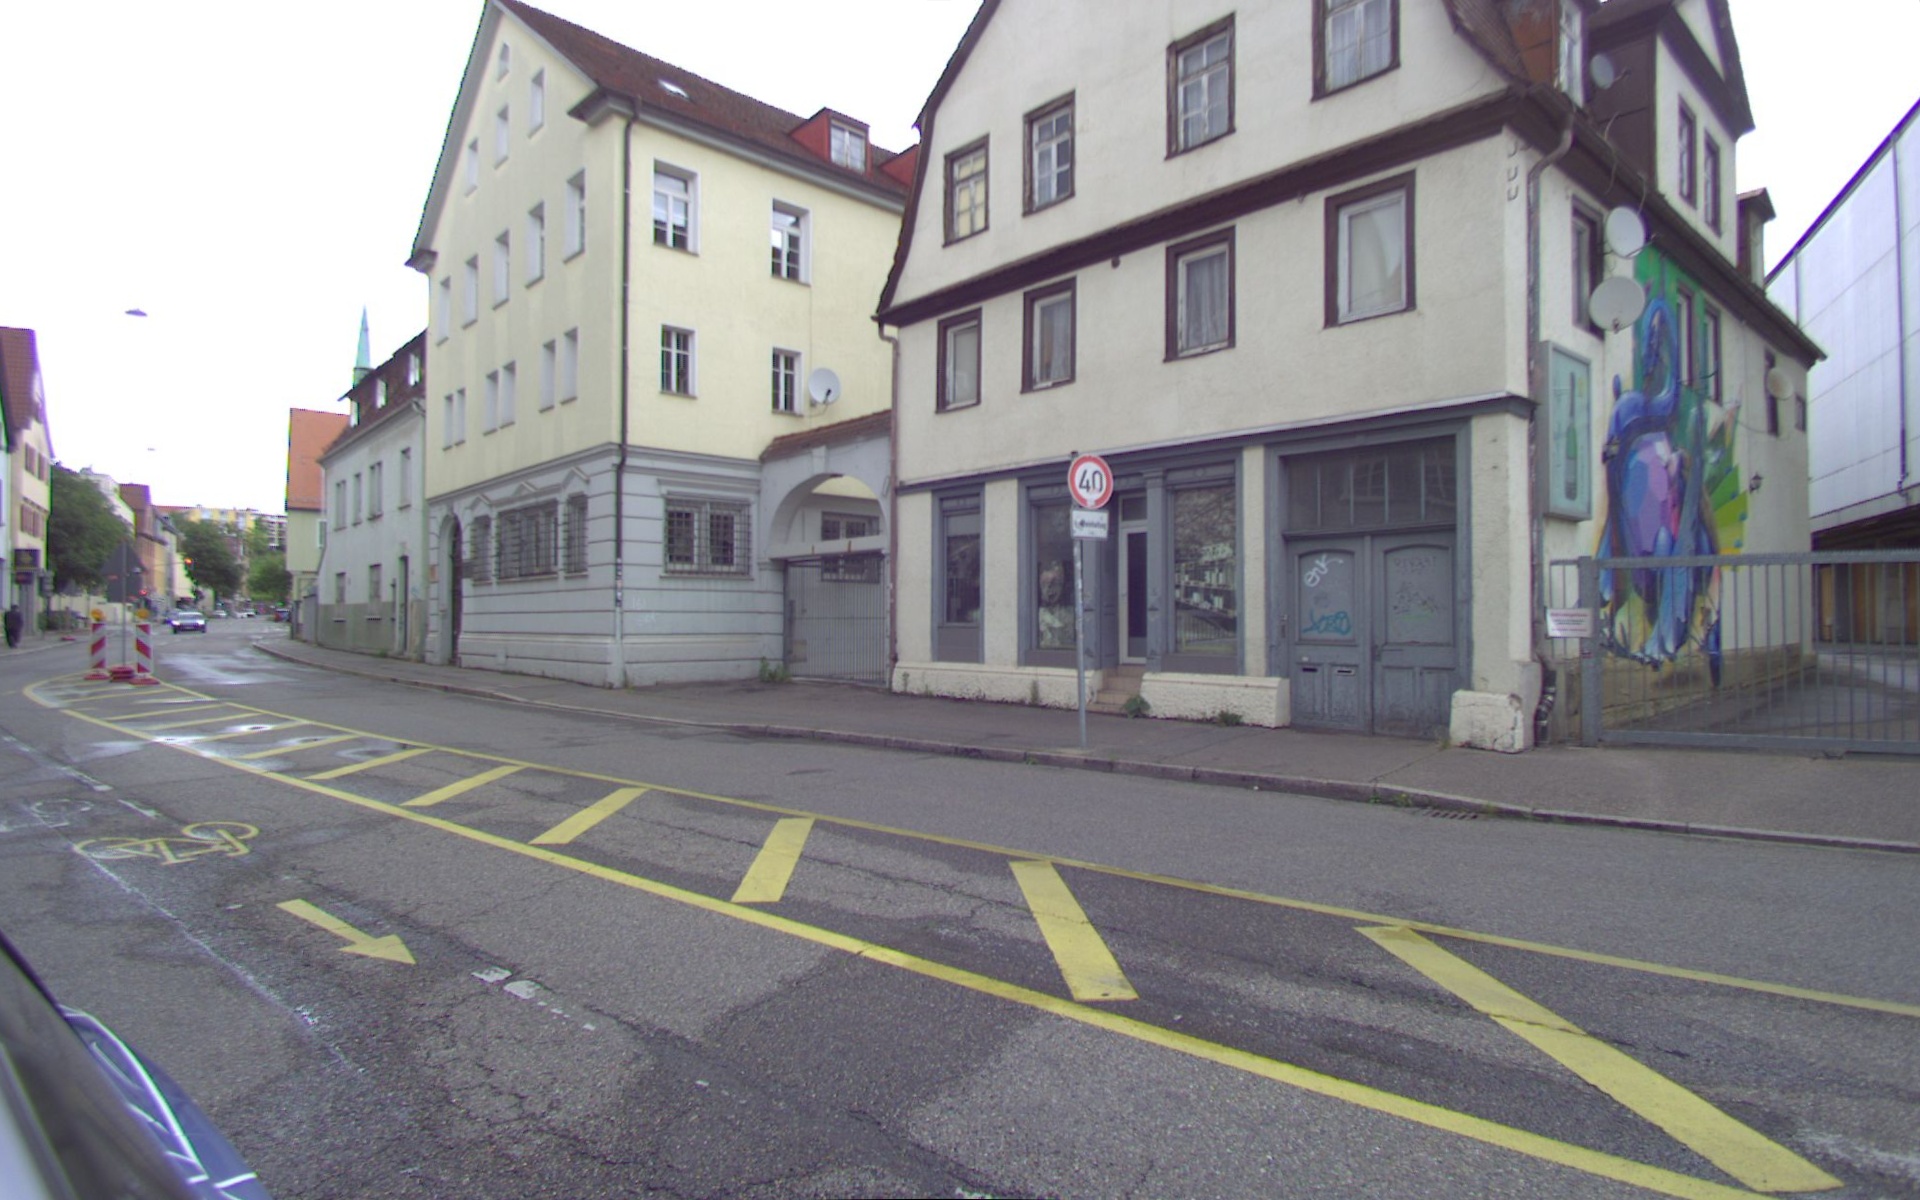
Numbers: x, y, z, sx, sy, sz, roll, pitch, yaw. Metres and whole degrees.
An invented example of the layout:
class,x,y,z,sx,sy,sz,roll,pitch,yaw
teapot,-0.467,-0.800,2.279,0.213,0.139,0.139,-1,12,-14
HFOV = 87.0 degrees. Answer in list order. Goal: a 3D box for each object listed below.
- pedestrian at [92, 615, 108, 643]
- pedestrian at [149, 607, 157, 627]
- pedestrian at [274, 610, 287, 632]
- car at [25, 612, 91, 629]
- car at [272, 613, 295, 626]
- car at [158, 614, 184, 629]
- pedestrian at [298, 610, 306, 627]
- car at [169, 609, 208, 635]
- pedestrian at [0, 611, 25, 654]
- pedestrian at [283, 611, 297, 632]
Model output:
class,x,y,z,sx,sy,sz,roll,pitch,yaw
pedestrian,-70.032,2.358,82.424,0.888,2.328,0.822,1,-2,-36
pedestrian,-88.609,1.855,111.131,0.650,2.131,0.647,1,-2,-35
pedestrian,-68.005,2.124,101.307,0.750,2.138,0.781,-1,-2,9
car,-77.423,1.749,86.908,3.932,1.475,2.006,0,0,-33
car,-85.873,2.462,128.438,2.178,1.690,4.509,2,-2,-36
car,-84.965,2.299,109.008,2.001,1.567,4.010,2,-2,-35
pedestrian,-78.055,2.152,120.044,0.823,2.029,0.847,1,-2,-36
car,-53.803,1.499,70.641,1.967,1.691,4.010,0,0,-34
pedestrian,-36.980,1.258,39.299,0.820,1.668,0.946,0,-2,-34
pedestrian,-67.056,2.160,101.305,0.750,2.138,0.781,0,-3,8
